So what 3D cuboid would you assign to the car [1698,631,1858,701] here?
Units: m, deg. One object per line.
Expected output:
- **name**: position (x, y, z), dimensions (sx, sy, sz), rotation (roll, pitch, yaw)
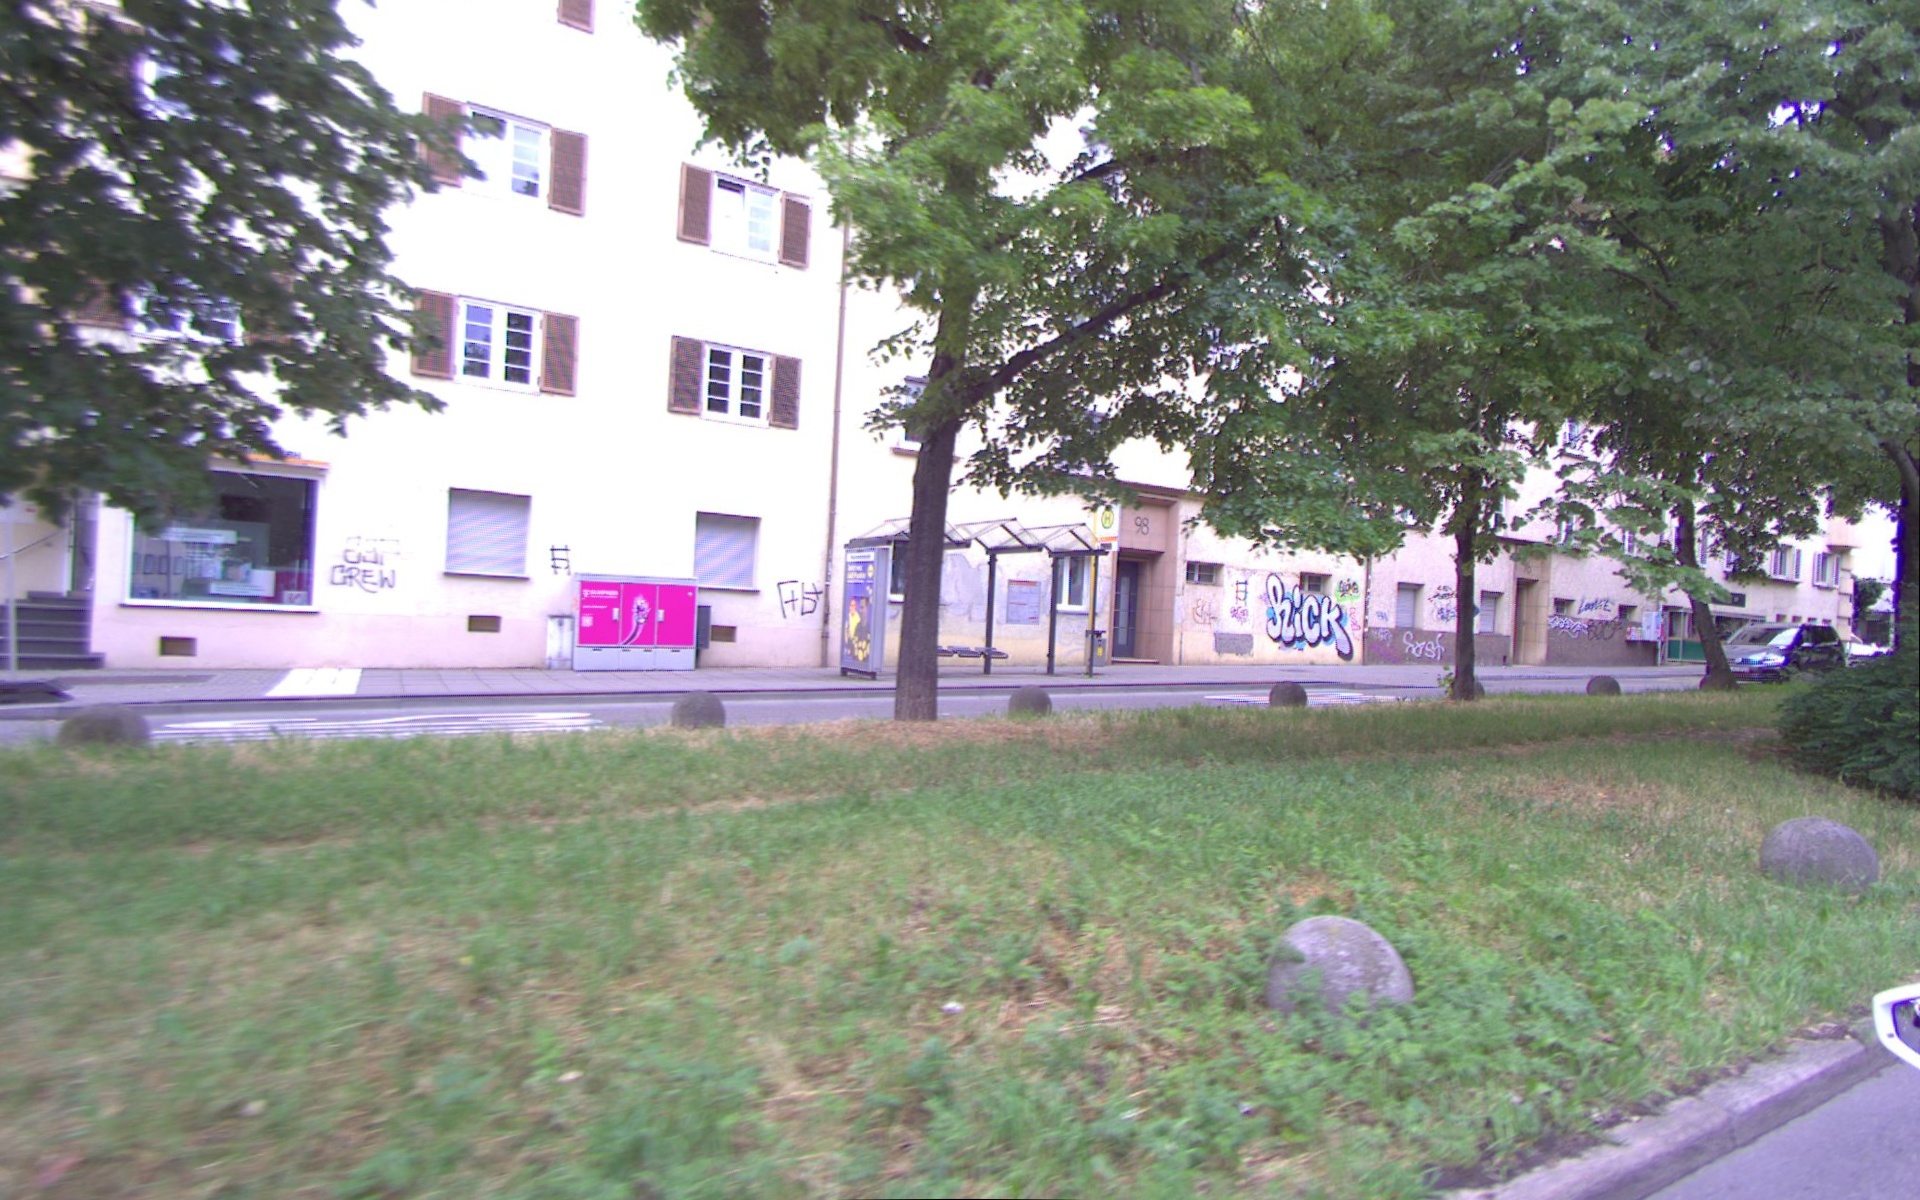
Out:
- **car**: position (21.598, 1.712, 26.488), dimensions (4.316, 1.650, 1.939), rotation (3, -1, -31)
